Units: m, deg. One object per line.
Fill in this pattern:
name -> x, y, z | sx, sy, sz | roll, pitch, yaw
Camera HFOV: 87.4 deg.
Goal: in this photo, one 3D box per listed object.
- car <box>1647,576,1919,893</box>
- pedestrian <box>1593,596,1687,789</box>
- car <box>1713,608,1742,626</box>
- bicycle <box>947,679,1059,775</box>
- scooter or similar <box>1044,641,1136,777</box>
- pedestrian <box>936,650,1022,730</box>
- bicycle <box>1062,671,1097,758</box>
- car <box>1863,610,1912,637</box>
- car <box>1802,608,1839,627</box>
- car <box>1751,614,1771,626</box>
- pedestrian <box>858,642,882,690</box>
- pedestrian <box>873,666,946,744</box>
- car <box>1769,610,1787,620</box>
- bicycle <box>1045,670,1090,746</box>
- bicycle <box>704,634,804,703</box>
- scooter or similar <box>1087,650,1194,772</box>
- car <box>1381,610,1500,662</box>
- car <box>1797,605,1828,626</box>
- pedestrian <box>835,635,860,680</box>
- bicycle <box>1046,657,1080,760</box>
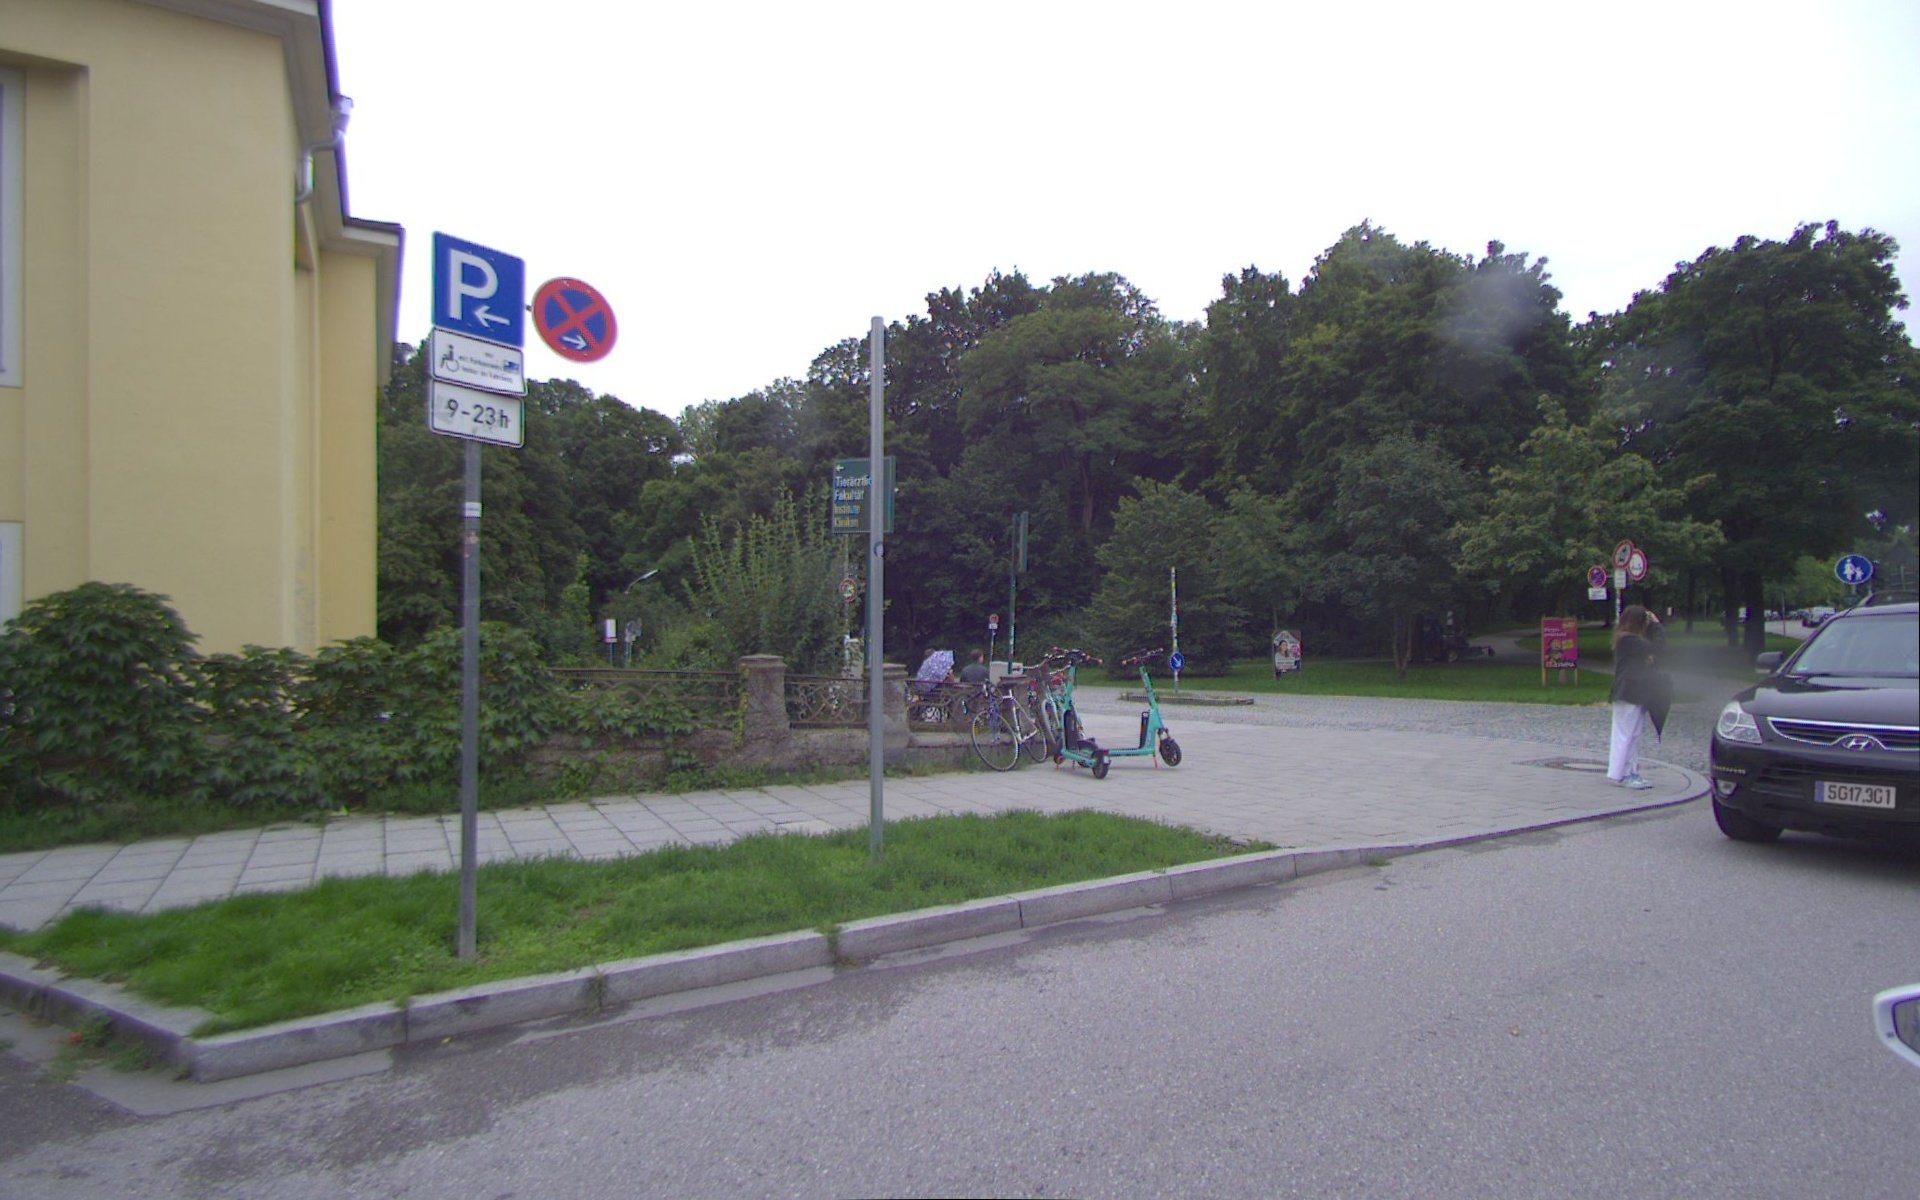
car -> 6.992, 0.753, 7.073 | 4.565, 1.742, 1.982 | 0, -1, -33
pedestrian -> 6.354, 0.842, 9.389 | 0.661, 1.719, 0.537 | 1, -2, -42
car -> 70.914, 1.562, 92.830 | 1.967, 1.622, 4.452 | -1, -1, 35
bicycle -> 0.473, 1.296, 10.533 | 0.428, 0.905, 1.324 | 0, -3, 41
scooter or similar -> 1.298, 1.068, 10.203 | 0.388, 1.260, 1.259 | 2, -1, -18
pedestrian -> 0.330, 1.540, 17.479 | 1.254, 1.285, 0.842 | 0, -1, -37
bicycle -> 1.520, 1.427, 12.804 | 0.406, 0.990, 1.277 | -1, -1, 6
car -> 61.139, 1.510, 66.279 | 1.769, 1.702, 3.988 | -1, -1, 34
car -> 75.899, 1.507, 88.641 | 1.967, 1.622, 4.241 | -1, -1, 34
car -> 113.938, 2.852, 142.783 | 1.784, 1.680, 4.223 | -1, -2, 45
pedestrian -> -3.305, 2.402, 36.930 | 0.652, 1.720, 0.746 | 0, -1, -28
pedestrian -> -0.955, 1.943, 18.858 | 1.023, 1.353, 0.946 | 0, -1, -37
car -> 130.336, 2.378, 160.036 | 1.972, 1.622, 4.440 | -1, -1, 44
bicycle -> 1.533, 1.531, 14.453 | 0.406, 0.990, 1.275 | -1, -1, -4
bicycle -> -5.519, 1.775, 26.758 | 3.109, 1.684, 1.046 | -1, -1, 44
scooter or similar -> 1.905, 1.165, 10.666 | 1.032, 1.228, 0.440 | 2, -1, 2
car -> 19.389, 1.439, 40.657 | 3.920, 2.040, 1.788 | 0, -1, 1
car -> 81.648, 1.508, 96.199 | 2.040, 1.992, 4.956 | -1, -1, 38
pedestrian -> -4.094, 2.093, 36.545 | 0.683, 1.602, 0.747 | 0, -1, -26
bicycle -> 1.240, 1.259, 11.975 | 0.295, 1.126, 1.192 | 1, -1, 11
